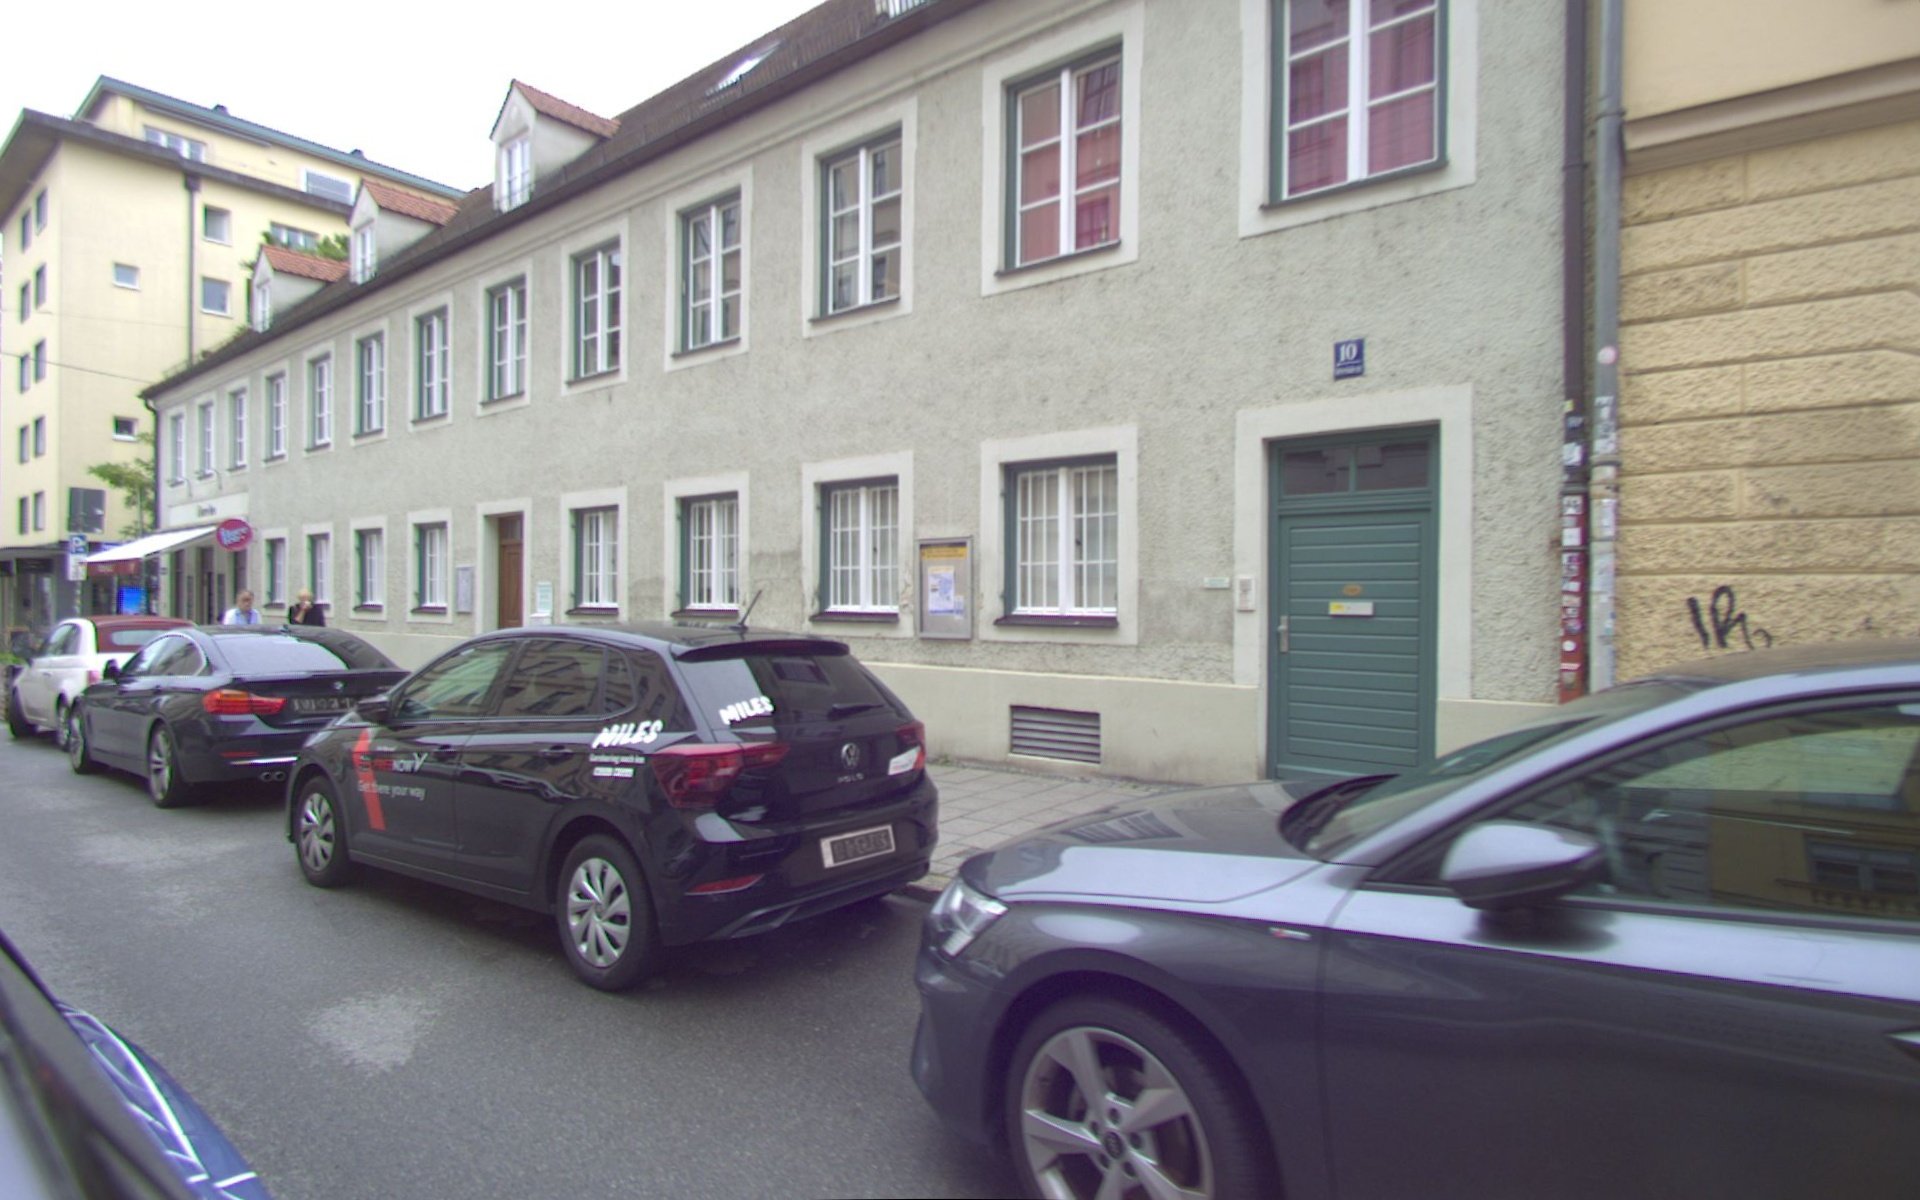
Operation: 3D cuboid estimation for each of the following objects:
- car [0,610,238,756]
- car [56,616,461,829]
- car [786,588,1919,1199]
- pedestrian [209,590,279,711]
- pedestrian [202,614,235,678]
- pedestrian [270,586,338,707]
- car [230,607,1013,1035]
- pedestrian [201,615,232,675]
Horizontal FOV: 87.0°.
[{"bbox_3d":[-10.395,0.905,12.394,3.417,1.526,1.555,-1,0,37],"label":"car"},{"bbox_3d":[-6.343,0.871,8.966,4.264,1.412,1.839,-1,0,39],"label":"car"},{"bbox_3d":[1.790,0.684,2.172,4.261,1.412,1.840,-1,0,37],"label":"car"},{"bbox_3d":[-9.909,0.681,14.000,0.661,1.610,0.607,-1,-1,36],"label":"pedestrian"},{"bbox_3d":[-15.163,0.934,20.704,0.515,1.276,0.548,-2,-2,-36],"label":"pedestrian"},{"bbox_3d":[-9.558,0.663,14.739,0.805,1.711,0.575,-1,-1,36],"label":"pedestrian"},{"bbox_3d":[-2.003,0.773,5.405,4.260,1.412,1.841,-1,0,36],"label":"car"},{"bbox_3d":[-15.670,0.941,21.334,0.501,1.222,0.596,-2,-2,-36],"label":"pedestrian"}]
